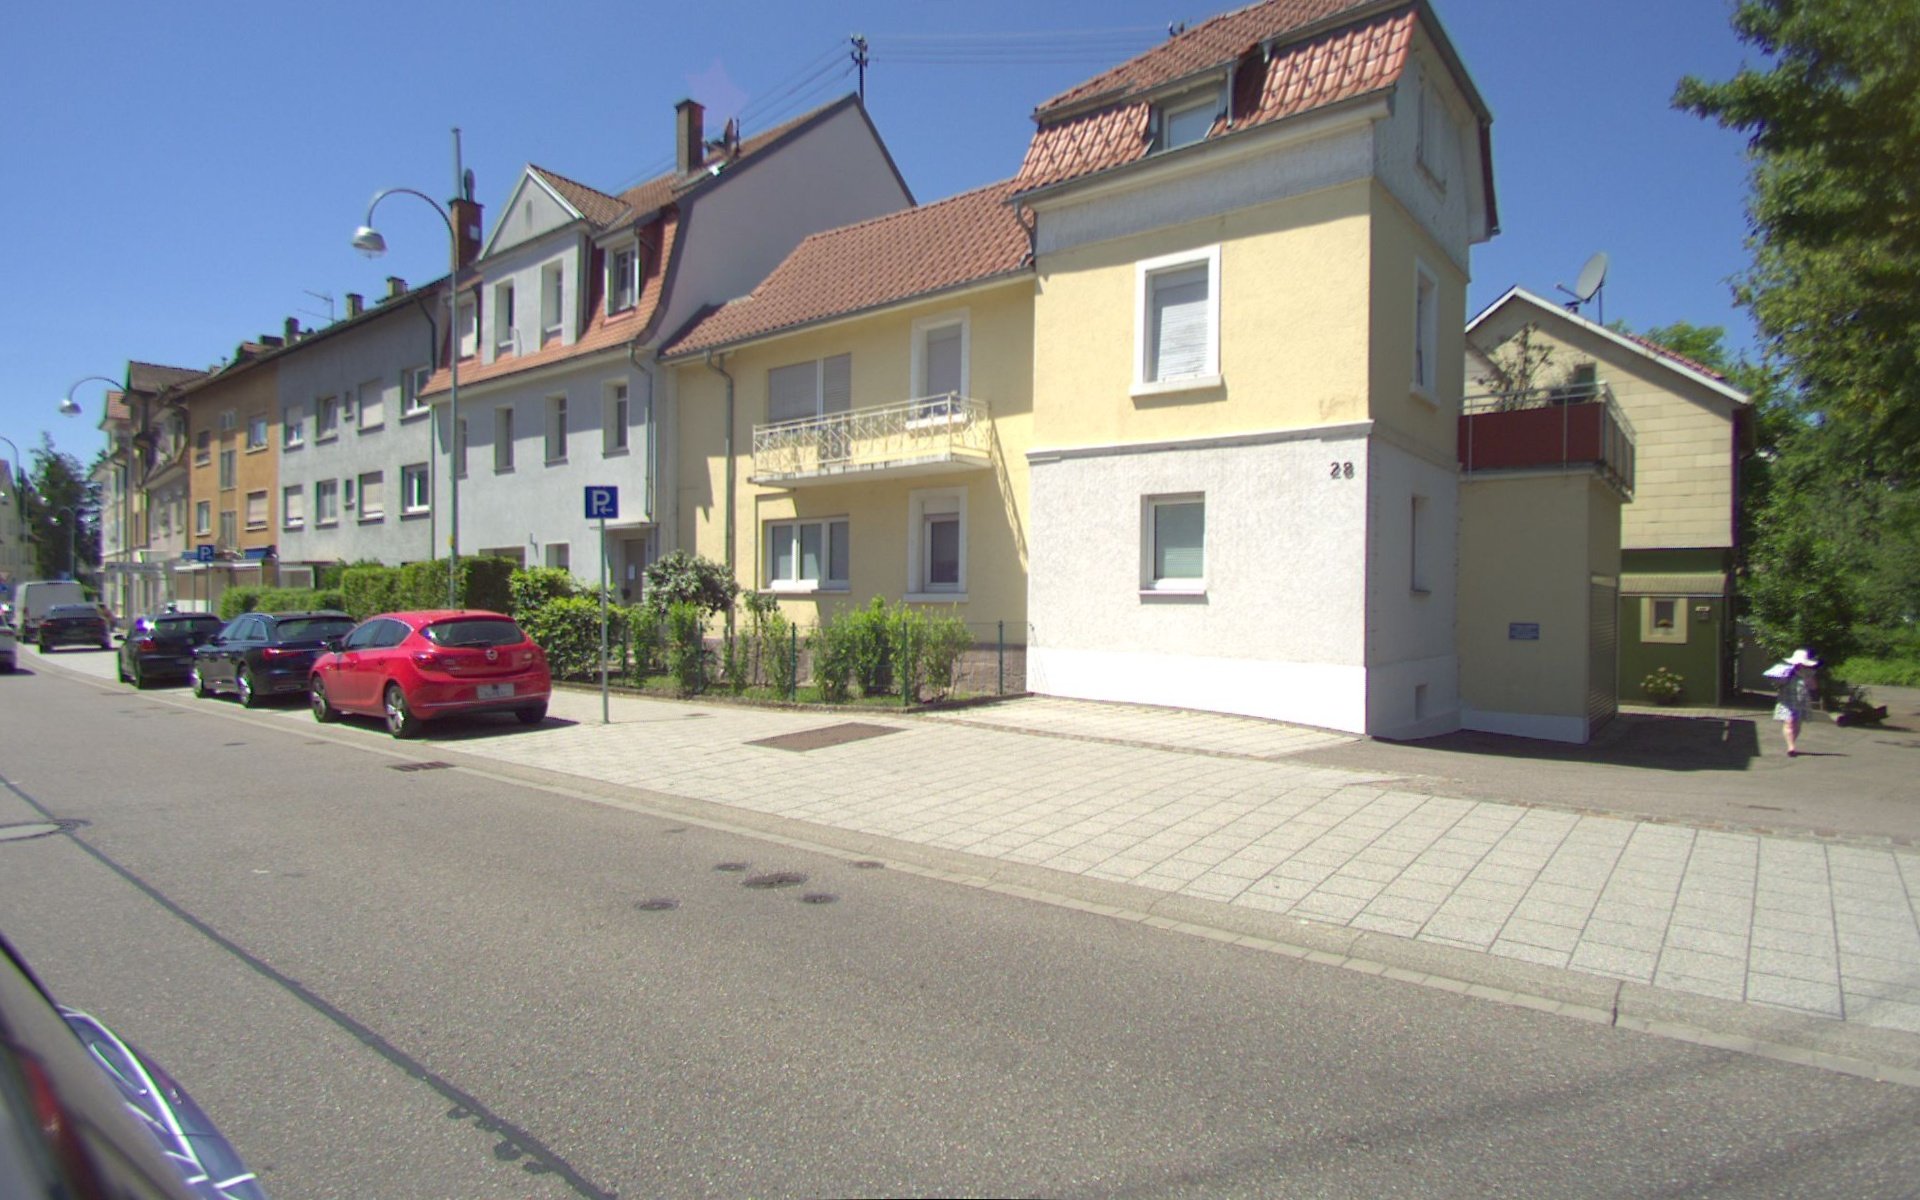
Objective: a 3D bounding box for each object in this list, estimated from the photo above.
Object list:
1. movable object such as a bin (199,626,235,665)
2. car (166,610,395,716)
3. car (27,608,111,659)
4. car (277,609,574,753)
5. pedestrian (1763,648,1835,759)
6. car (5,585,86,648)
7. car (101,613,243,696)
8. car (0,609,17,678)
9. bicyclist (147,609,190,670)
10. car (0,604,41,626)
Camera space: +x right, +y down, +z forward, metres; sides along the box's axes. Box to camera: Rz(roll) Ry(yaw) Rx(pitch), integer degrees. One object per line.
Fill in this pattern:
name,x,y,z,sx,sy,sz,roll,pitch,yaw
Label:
movable object such as a bin,-20.735,1.251,28.229,0.651,1.056,0.666,-1,-2,40
car,-11.652,0.970,17.185,5.303,1.472,1.844,-1,1,40
car,-31.189,1.115,35.552,2.059,1.627,5.117,-1,0,-40
car,-7.206,0.923,13.412,4.735,1.490,1.858,-1,2,41
pedestrian,12.219,1.475,14.742,0.739,1.515,0.898,-1,-2,44
car,-39.204,0.663,43.322,6.119,2.468,2.095,0,1,44
car,-16.547,1.057,21.171,4.199,1.470,1.768,-1,2,45
car,-24.641,1.027,24.833,4.359,1.609,1.857,-1,-2,43
bicyclist,-21.993,1.086,28.124,0.834,1.672,0.774,0,-1,39
car,-65.423,1.056,69.879,1.706,1.422,4.013,2,-2,-23
